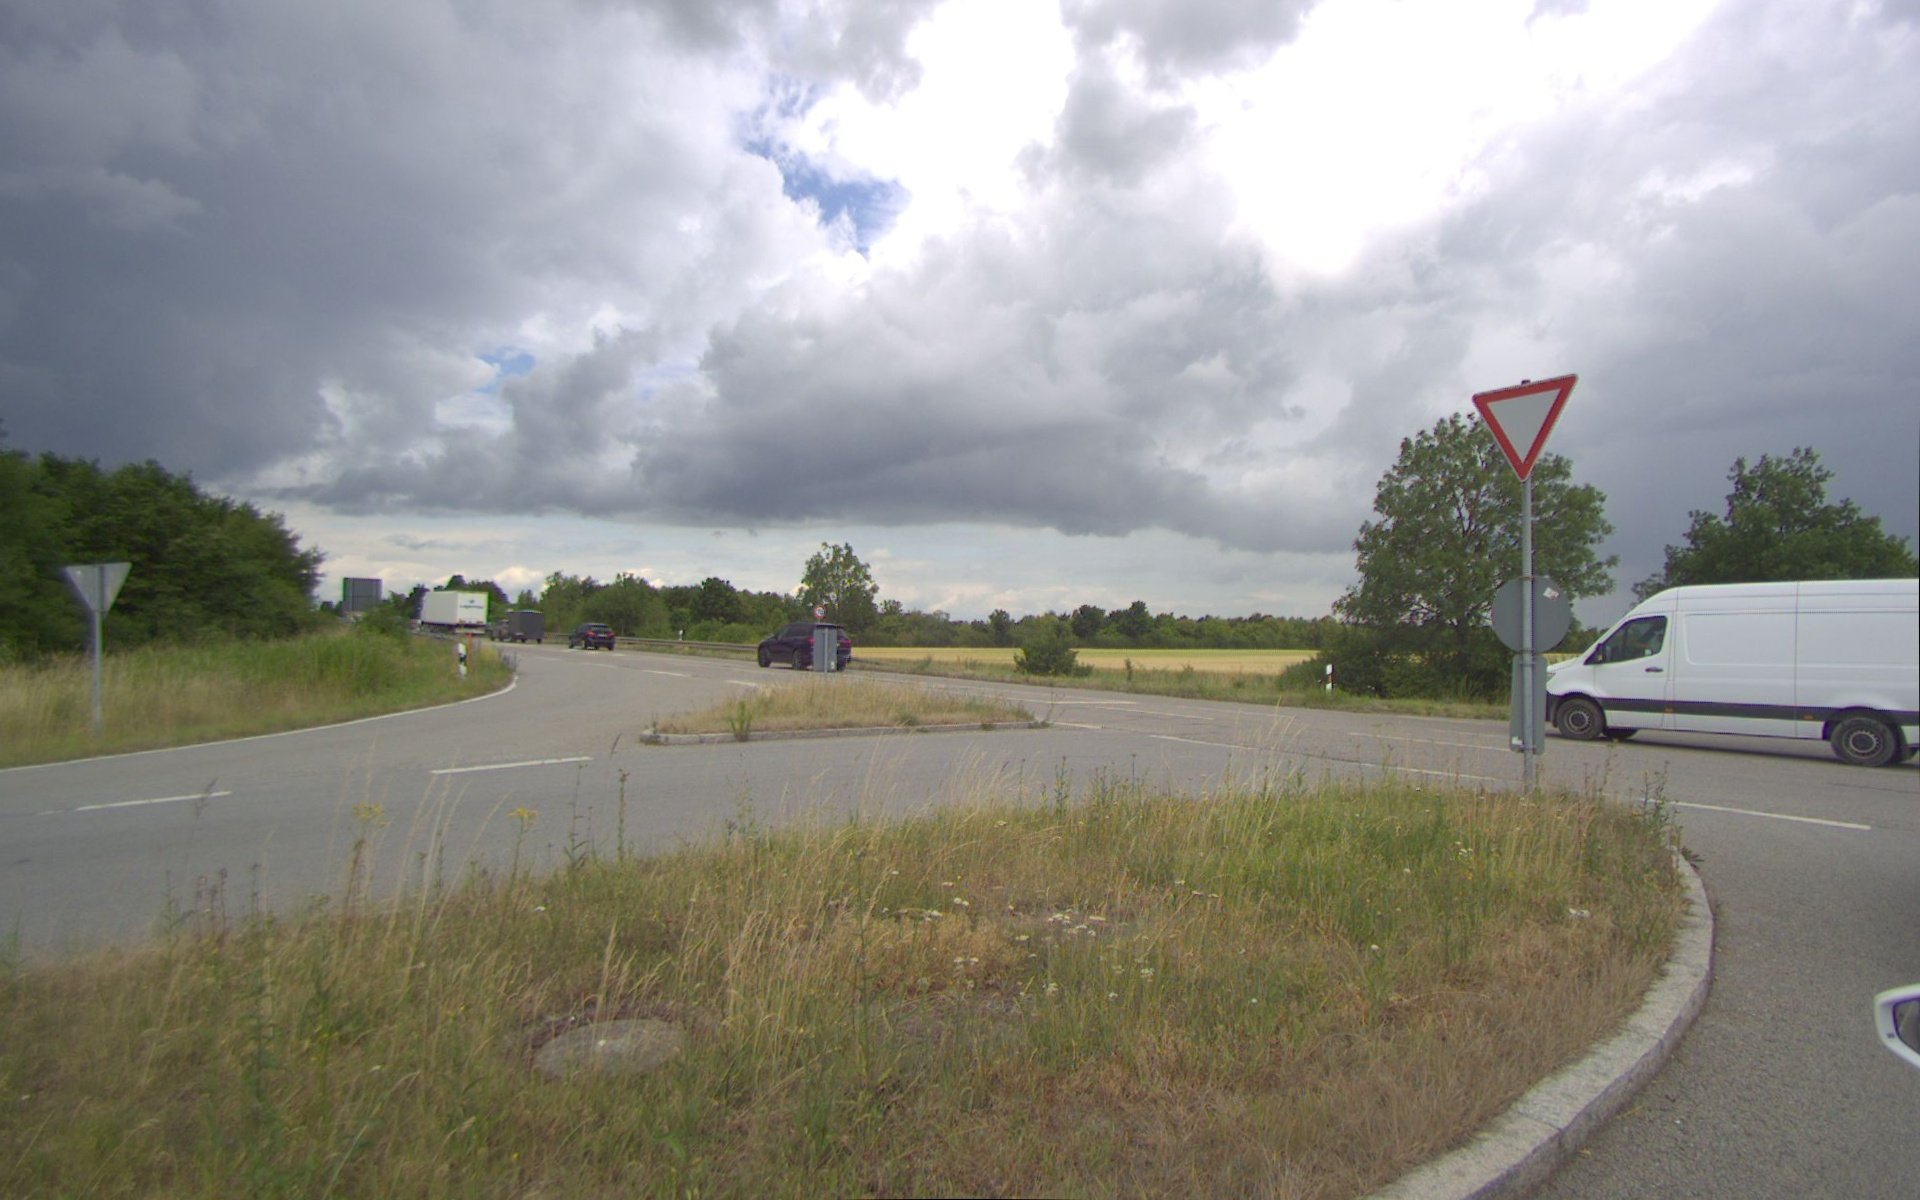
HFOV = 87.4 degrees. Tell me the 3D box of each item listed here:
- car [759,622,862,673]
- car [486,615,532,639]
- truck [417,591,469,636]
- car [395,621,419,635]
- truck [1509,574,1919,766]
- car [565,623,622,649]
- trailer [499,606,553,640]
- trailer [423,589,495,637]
[{"bbox_3d":[-5.804,1.782,38.564,1.982,1.798,4.595,3,-2,-37],"label":"car"},{"bbox_3d":[-34.398,2.072,76.537,1.984,1.704,4.426,4,-4,-40],"label":"car"},{"bbox_3d":[-50.322,1.362,97.630,3.102,4.066,7.228,4,-3,-38],"label":"truck"},{"bbox_3d":[-65.369,3.323,118.660,1.981,1.622,4.182,1,-3,-36],"label":"car"},{"bbox_3d":[12.353,1.036,16.102,1.983,2.609,5.951,4,-3,-38],"label":"truck"},{"bbox_3d":[-22.047,2.160,60.402,1.983,1.506,4.254,3,-3,-38],"label":"car"},{"bbox_3d":[-31.610,1.676,73.125,2.398,2.322,4.346,4,-4,-39],"label":"trailer"},{"bbox_3d":[-46.251,1.255,92.423,3.102,4.066,13.736,4,-3,-38],"label":"trailer"}]
